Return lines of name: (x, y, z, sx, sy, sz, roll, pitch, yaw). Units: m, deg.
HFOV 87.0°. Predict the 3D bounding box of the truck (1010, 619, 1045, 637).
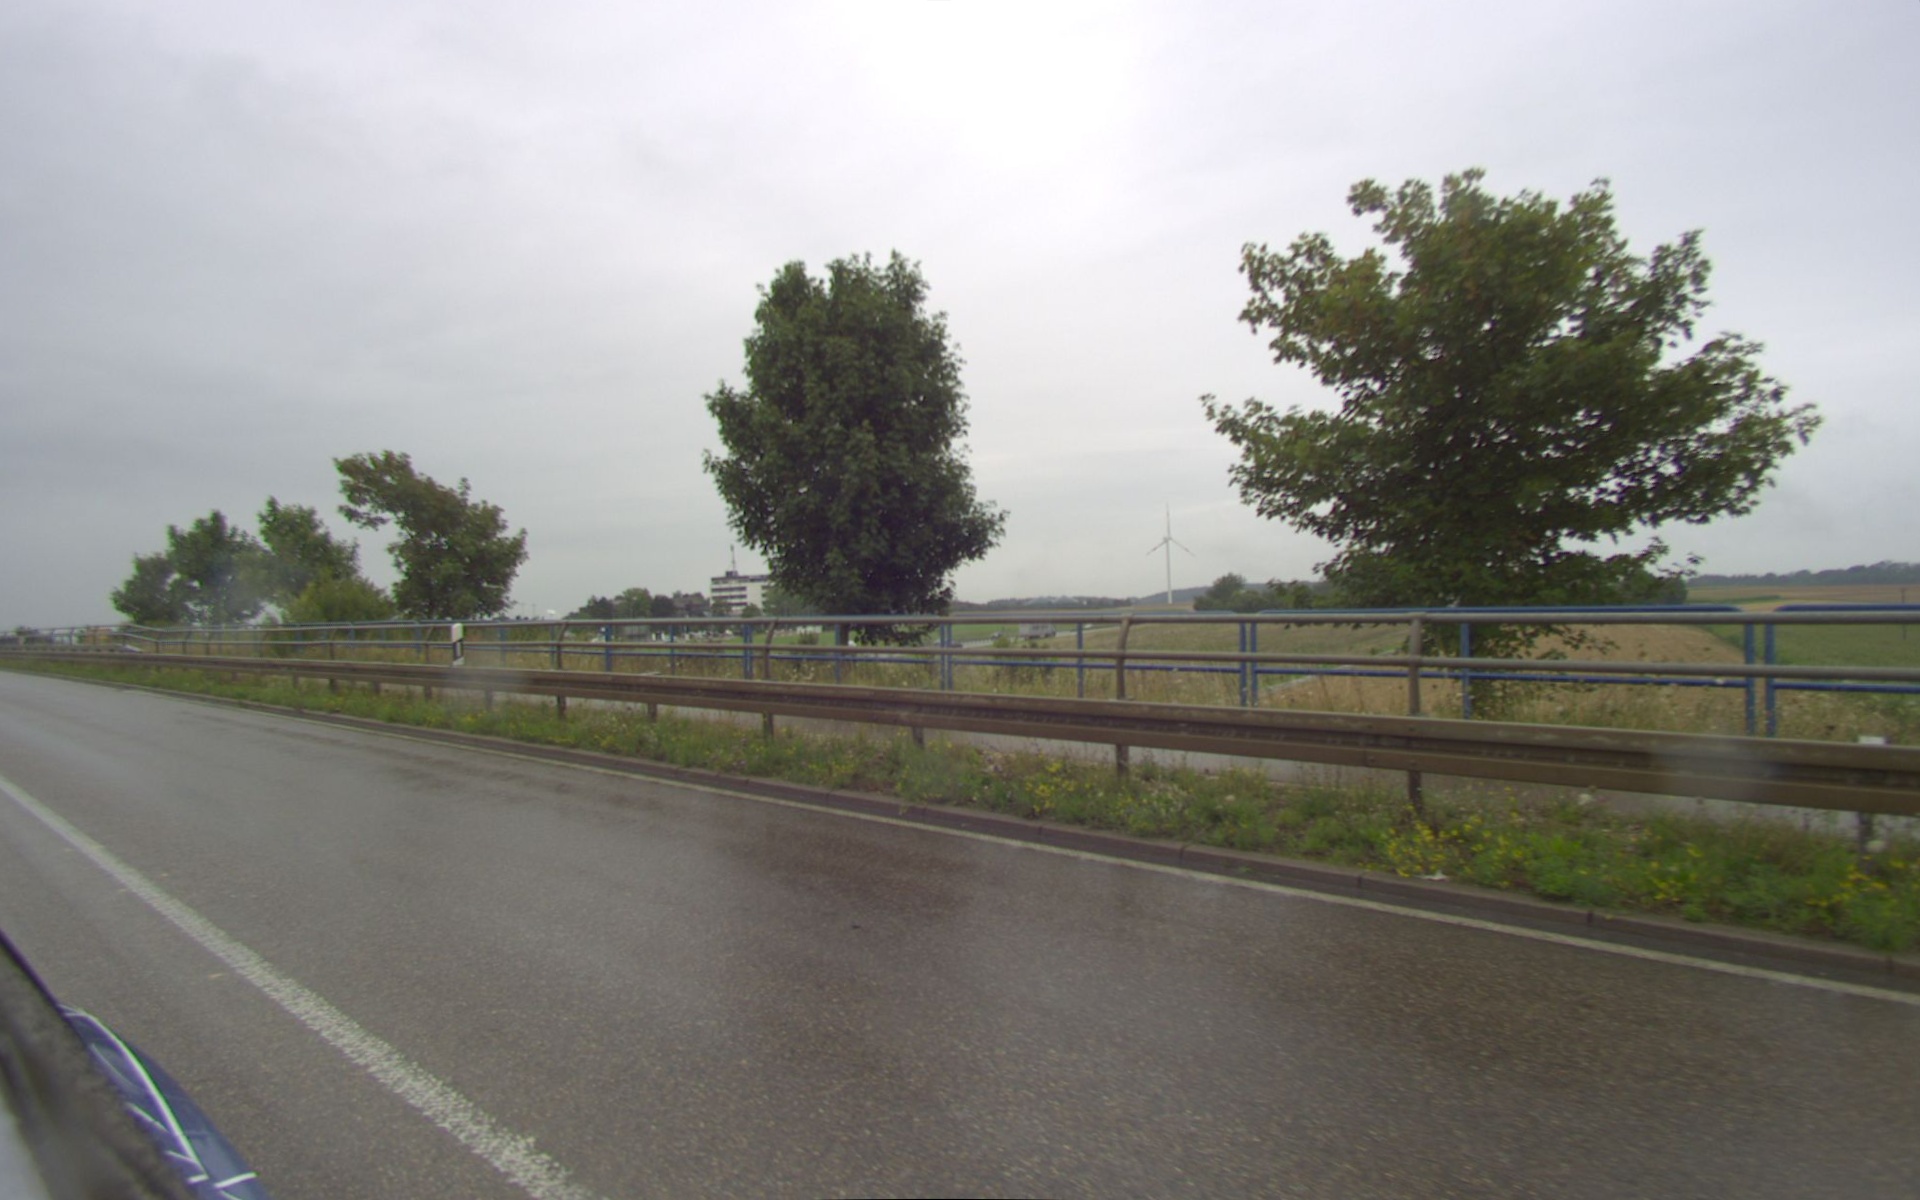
truck: (16.119, 6.670, 240.851, 3.340, 3.975, 11.409, -2, -1, 30)
